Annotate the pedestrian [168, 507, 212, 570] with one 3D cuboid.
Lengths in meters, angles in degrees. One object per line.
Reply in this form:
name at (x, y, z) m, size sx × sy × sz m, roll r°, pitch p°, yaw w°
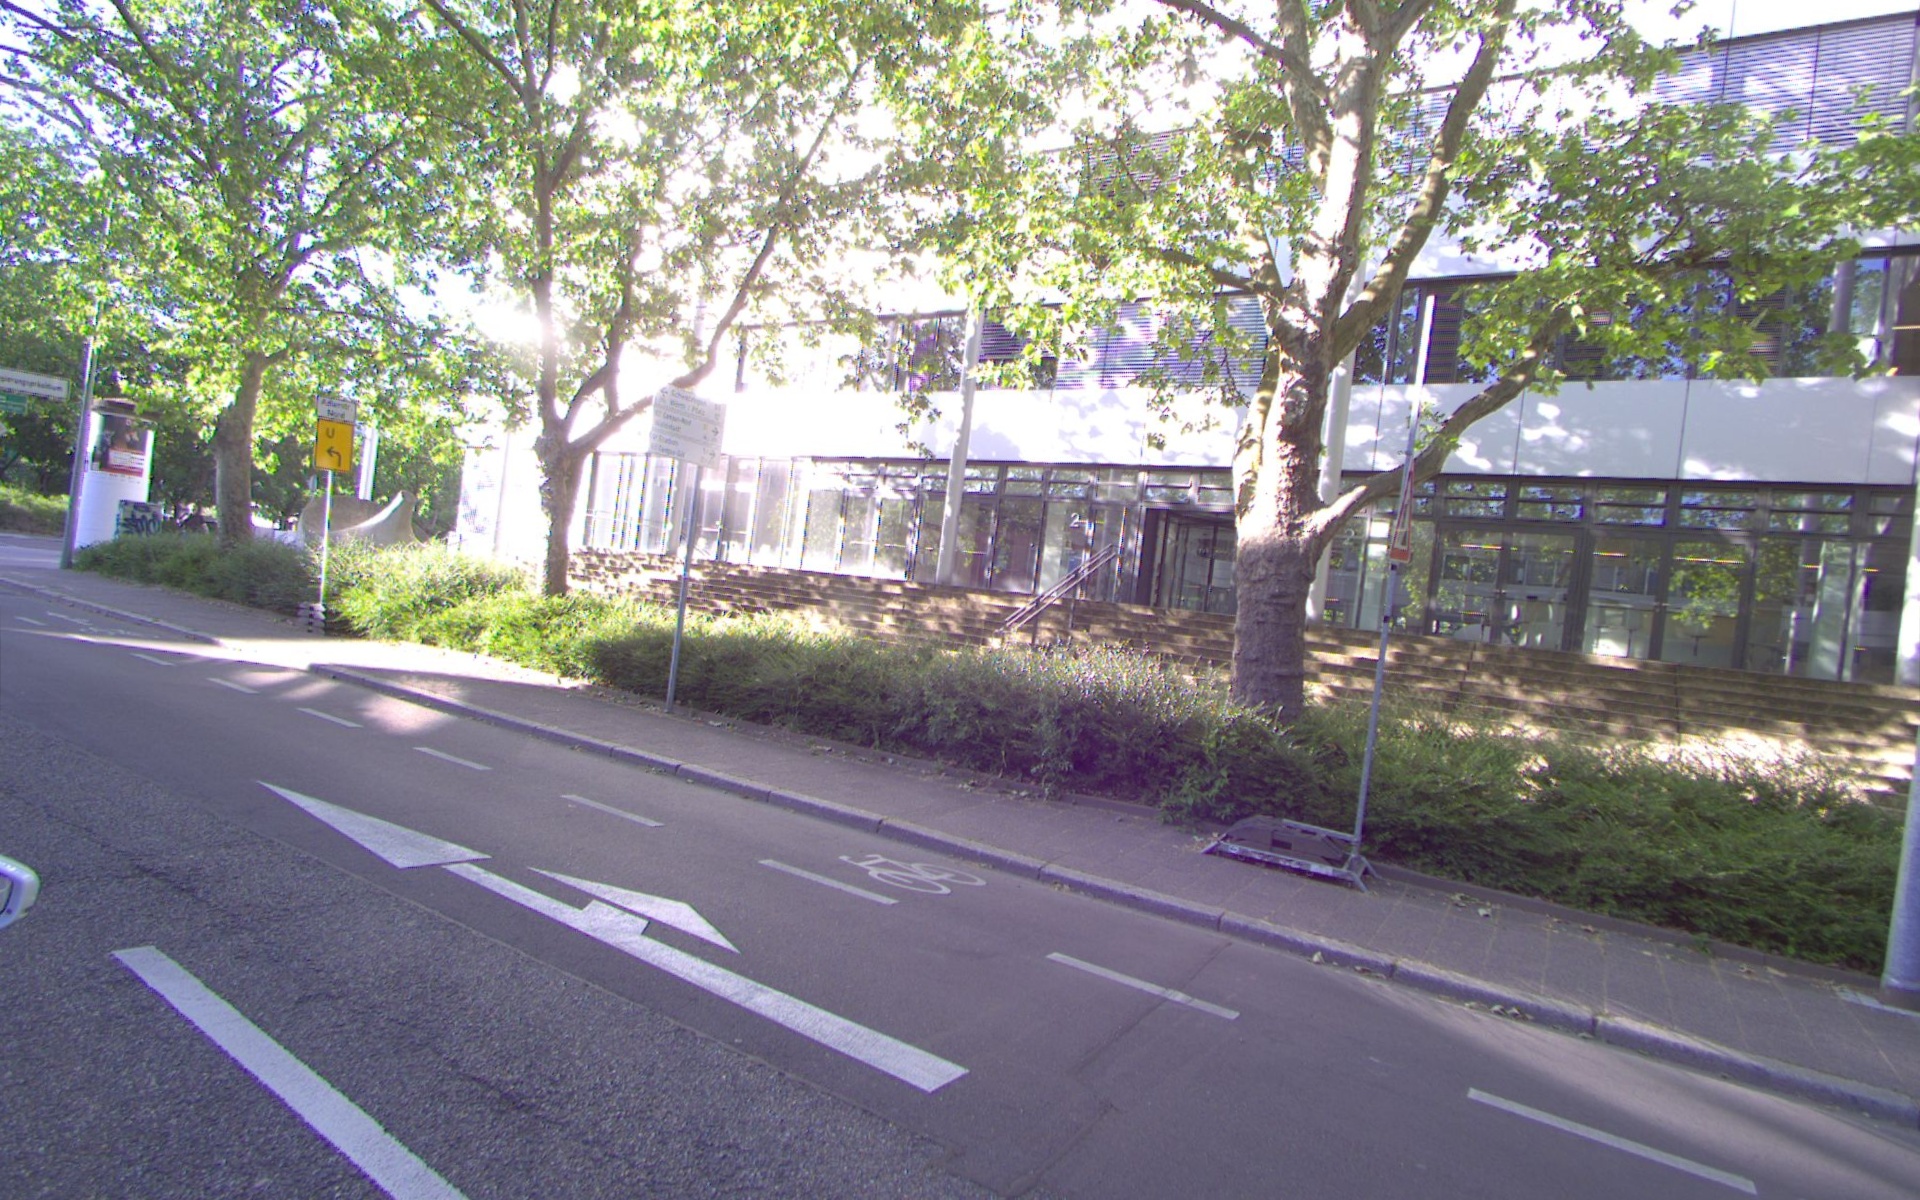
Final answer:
pedestrian at (-23.427, -1.877, 30.608) m, size 0.719 × 1.799 × 0.735 m, roll 6°, pitch -1°, yaw 40°
